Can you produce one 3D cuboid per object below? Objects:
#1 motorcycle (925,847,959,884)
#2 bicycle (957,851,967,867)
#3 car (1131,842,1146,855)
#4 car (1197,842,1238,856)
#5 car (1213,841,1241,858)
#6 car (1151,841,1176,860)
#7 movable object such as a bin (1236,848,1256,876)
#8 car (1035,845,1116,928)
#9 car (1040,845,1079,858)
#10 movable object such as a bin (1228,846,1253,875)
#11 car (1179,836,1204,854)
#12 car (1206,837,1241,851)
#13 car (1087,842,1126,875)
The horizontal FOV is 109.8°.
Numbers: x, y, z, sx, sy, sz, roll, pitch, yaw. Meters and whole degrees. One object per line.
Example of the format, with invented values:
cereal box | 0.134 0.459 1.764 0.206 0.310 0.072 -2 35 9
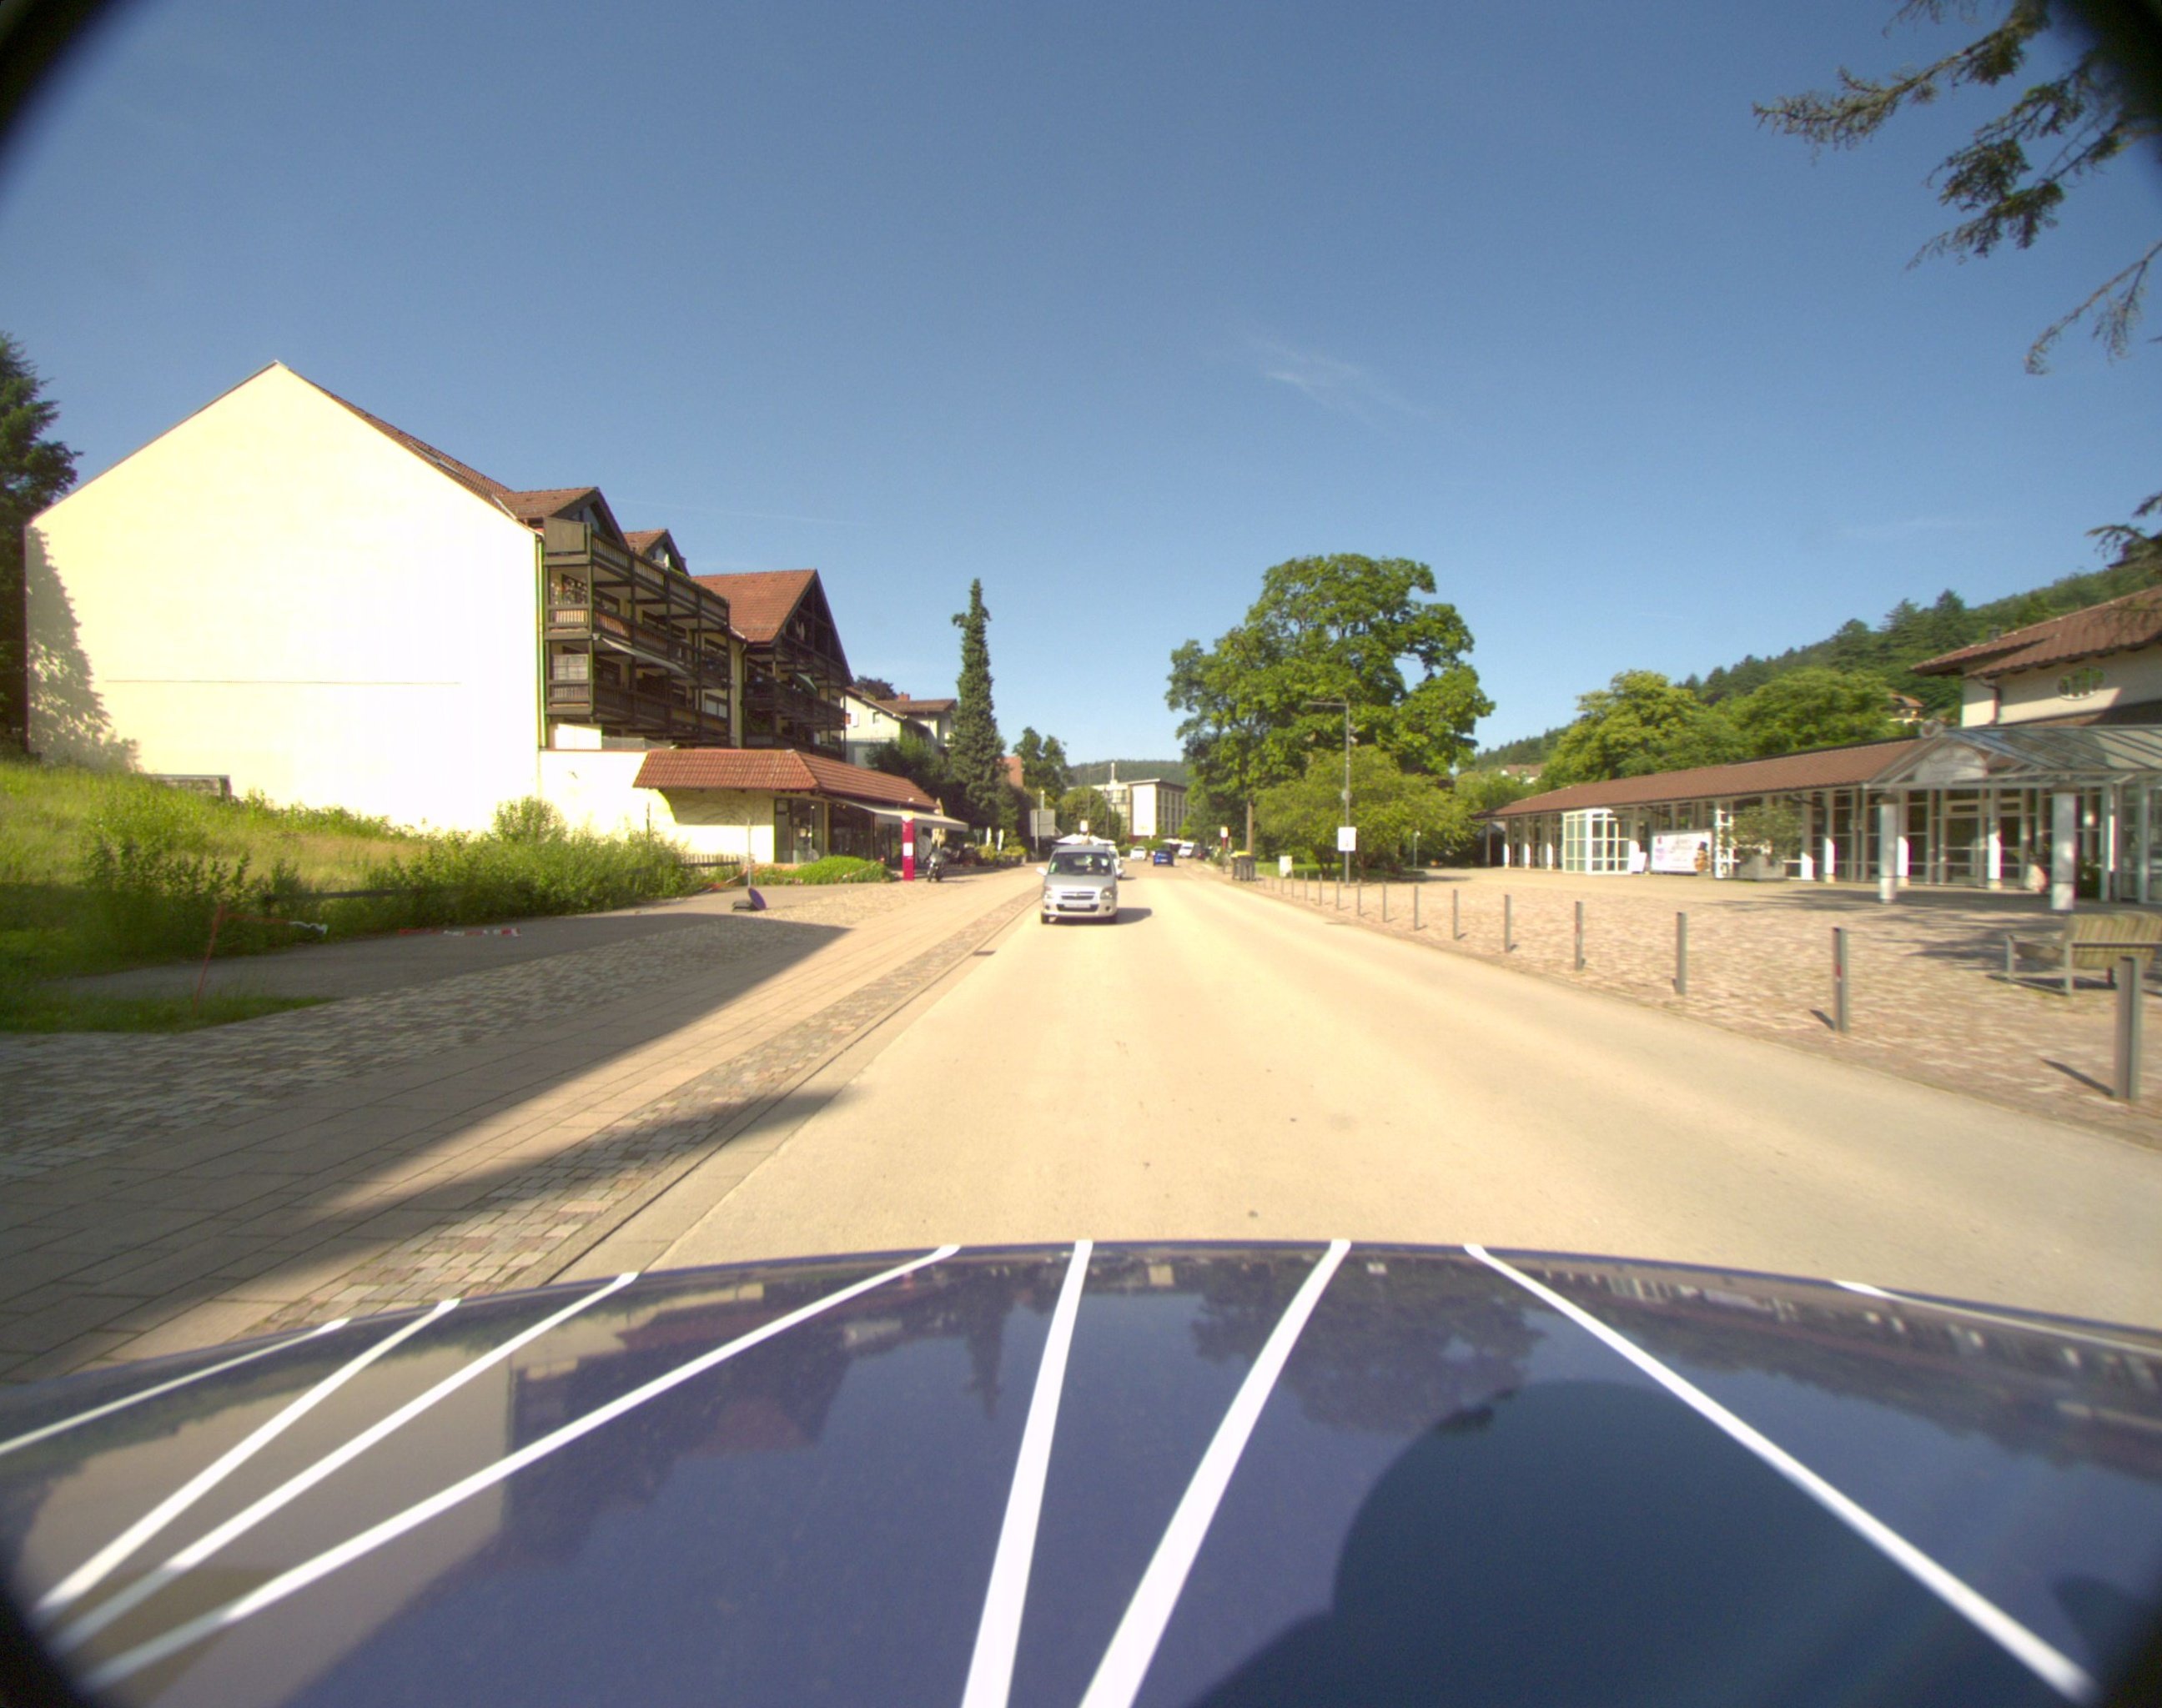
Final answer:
motorcycle | -5.189 0.402 28.502 0.698 1.289 2.212 3 1 3
bicycle | -6.842 0.260 43.509 0.397 0.837 1.613 -1 3 -15
car | 6.775 -0.616 88.645 1.654 1.462 4.001 -1 1 5
car | 15.227 -0.599 84.957 4.286 1.424 1.713 -2 1 1
car | 14.455 -0.464 75.120 2.655 1.538 1.683 -1 1 13
car | 7.013 -0.293 64.980 1.745 1.454 4.186 2 2 2
movable object such as a bin | 8.199 0.406 37.792 0.756 1.334 1.295 -2 1 4
car | -0.079 0.630 17.164 1.605 1.628 3.999 -1 1 1
car | -2.489 -0.319 87.974 4.270 1.371 1.710 1 2 8
movable object such as a bin | 8.346 0.323 39.738 1.081 1.419 1.377 -2 1 4
car | 17.735 -1.508 121.461 1.785 2.775 5.924 -1 1 31
car | 19.030 -1.319 101.682 4.490 1.654 1.811 -2 2 10
car | 1.192 0.182 36.479 1.740 1.488 3.929 -1 1 1
